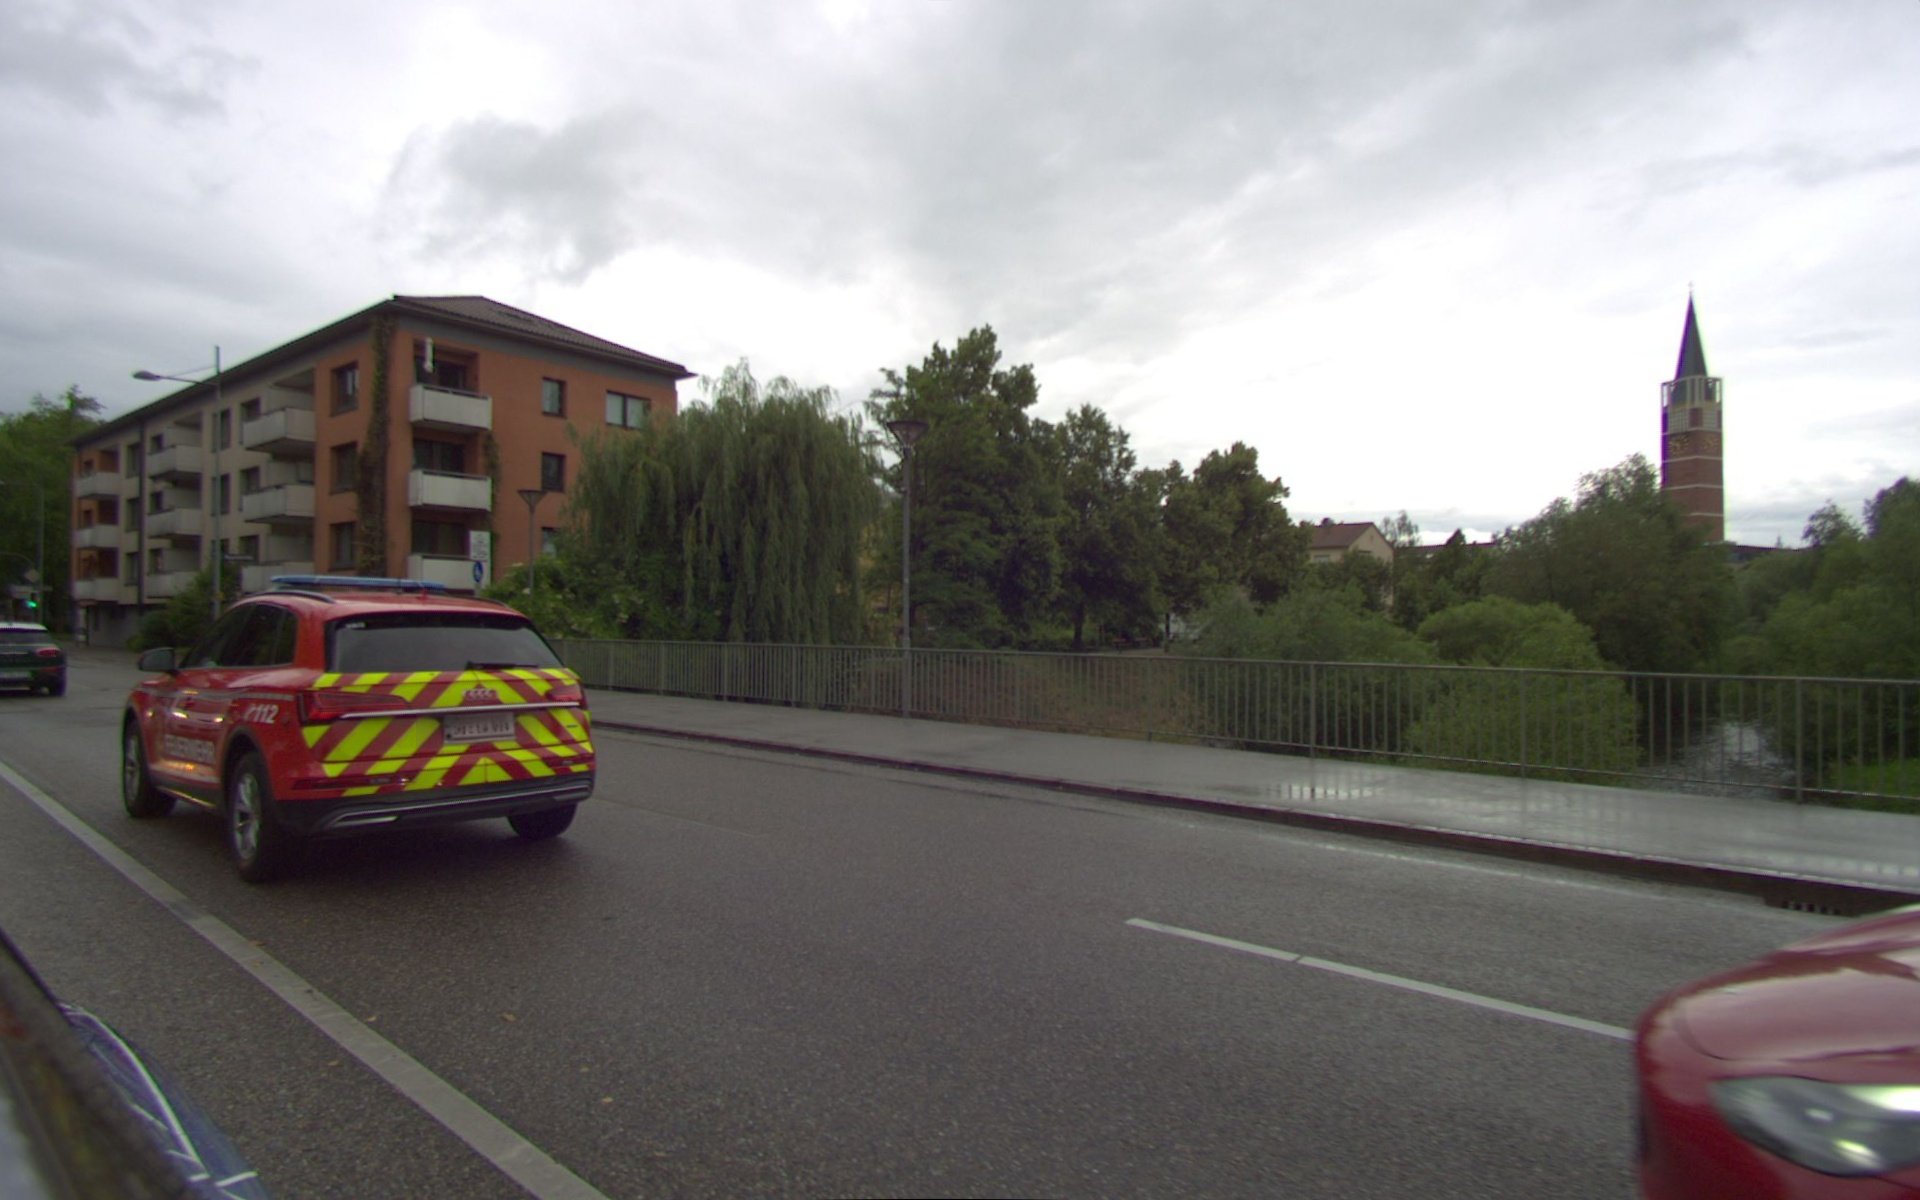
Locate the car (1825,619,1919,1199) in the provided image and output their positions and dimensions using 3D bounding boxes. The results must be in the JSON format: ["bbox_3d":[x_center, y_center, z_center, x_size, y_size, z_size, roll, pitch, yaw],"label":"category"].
[{"bbox_3d":[3.404,0.729,0.718,4.216,1.413,1.763,-1,-3,41],"label":"car"}]

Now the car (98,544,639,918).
[{"bbox_3d":[-4.219,0.672,6.899,4.369,1.748,1.869,-1,-3,41],"label":"car"}]

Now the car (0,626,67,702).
[{"bbox_3d":[-19.766,1.257,20.709,3.998,1.450,1.727,-1,-2,41],"label":"car"}]
